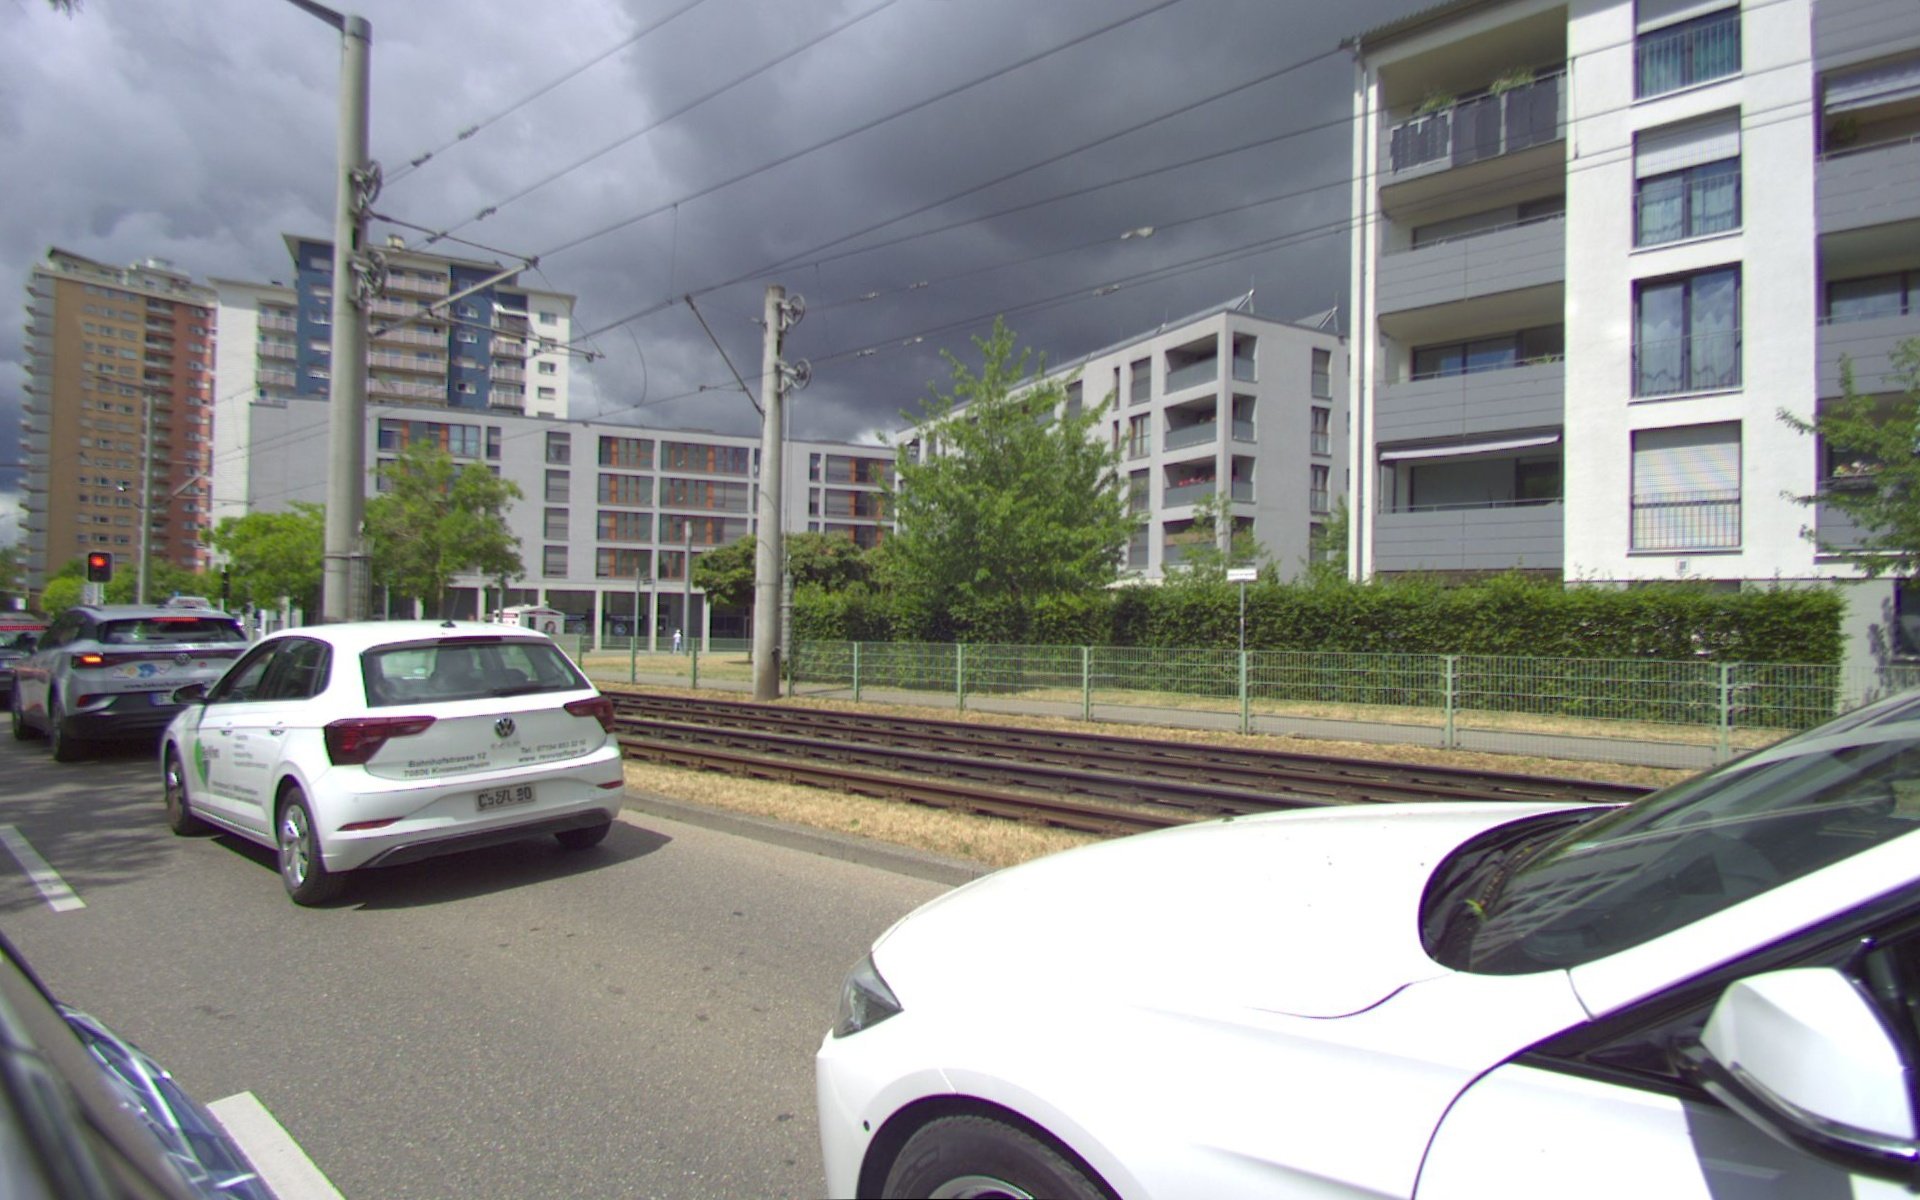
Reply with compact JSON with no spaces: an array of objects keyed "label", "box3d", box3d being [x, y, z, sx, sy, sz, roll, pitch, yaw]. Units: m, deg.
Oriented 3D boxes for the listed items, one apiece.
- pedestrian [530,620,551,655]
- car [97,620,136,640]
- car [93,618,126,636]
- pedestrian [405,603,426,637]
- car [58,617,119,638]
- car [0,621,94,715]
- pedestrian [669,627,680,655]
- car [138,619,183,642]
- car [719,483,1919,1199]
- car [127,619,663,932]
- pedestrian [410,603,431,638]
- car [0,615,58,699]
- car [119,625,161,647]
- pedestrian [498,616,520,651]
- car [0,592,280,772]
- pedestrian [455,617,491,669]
[{"label":"pedestrian","box3d":[-19.636,1.728,47.328,0.744,1.623,0.535,-1,-1,19]},{"label":"car","box3d":[-66.011,2.326,79.168,3.801,1.551,1.758,-1,-1,41]},{"label":"car","box3d":[-79.337,2.502,94.398,3.801,1.672,1.758,-1,-1,41]},{"label":"pedestrian","box3d":[-26.676,0.995,49.591,0.538,1.666,0.739,-1,-2,41]},{"label":"car","box3d":[-83.170,2.610,96.655,1.856,1.940,4.496,0,-1,0]},{"label":"car","box3d":[-16.309,1.083,17.235,4.464,1.456,1.792,-1,-2,42]},{"label":"pedestrian","box3d":[-20.308,2.911,71.938,0.737,1.920,0.540,0,-1,-22]},{"label":"car","box3d":[-55.966,2.118,70.816,3.801,1.551,1.758,-1,-1,41]},{"label":"car","box3d":[1.932,0.641,1.114,4.834,1.514,1.798,-1,0,41]},{"label":"car","box3d":[-3.802,0.834,6.534,3.937,1.417,1.729,-1,-2,40]},{"label":"pedestrian","box3d":[-26.182,0.982,49.117,0.538,1.666,0.739,-1,-2,41]},{"label":"car","box3d":[-20.779,1.165,21.648,4.176,1.672,1.837,-1,-2,43]},{"label":"car","box3d":[-60.806,2.663,75.027,3.801,1.551,1.758,-1,-1,41]},{"label":"pedestrian","box3d":[-26.663,1.971,59.834,0.905,2.029,0.728,-1,-1,23]},{"label":"car","box3d":[-9.699,0.823,11.732,4.430,1.703,1.839,-1,-2,40]},{"label":"pedestrian","box3d":[-15.703,1.372,32.639,0.937,1.625,0.746,-1,-2,41]}]
